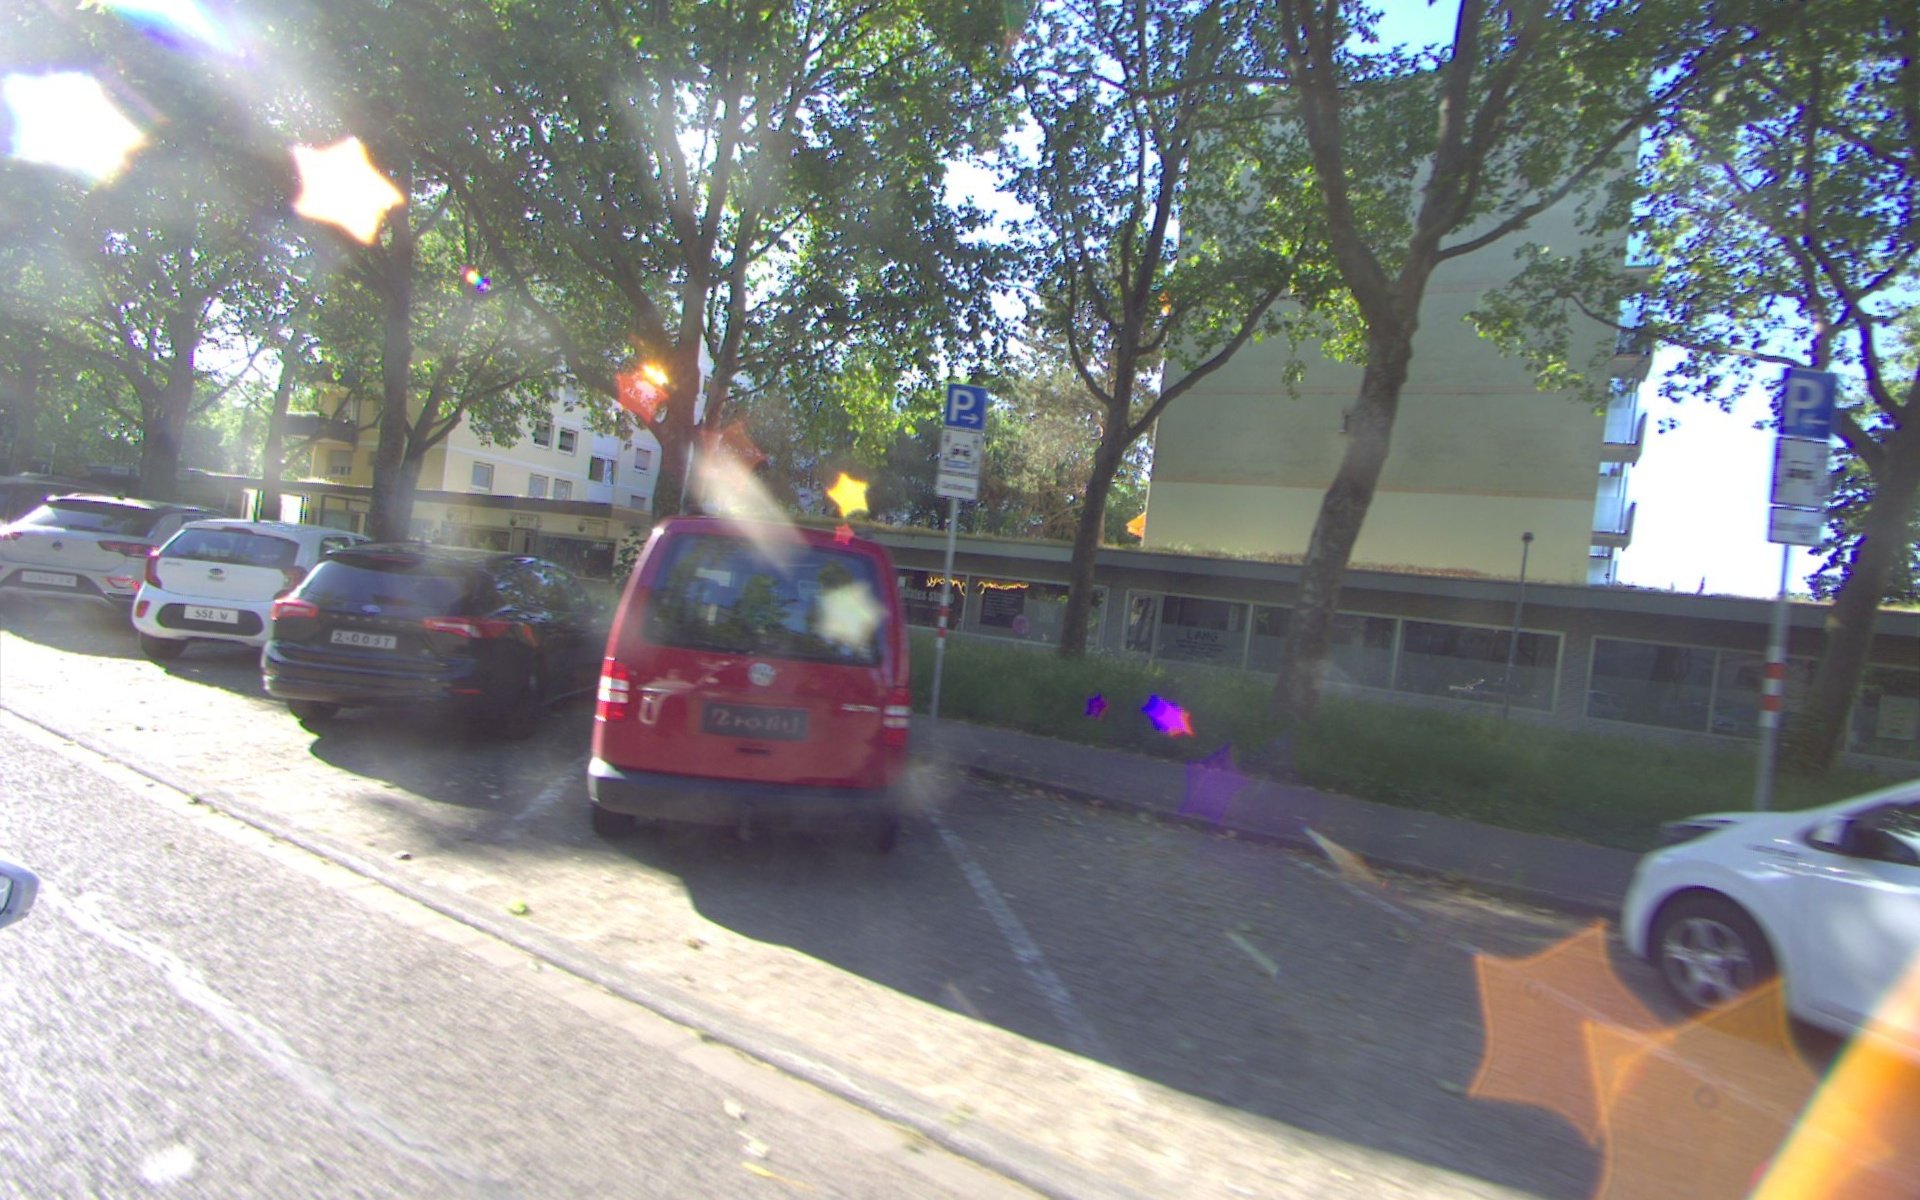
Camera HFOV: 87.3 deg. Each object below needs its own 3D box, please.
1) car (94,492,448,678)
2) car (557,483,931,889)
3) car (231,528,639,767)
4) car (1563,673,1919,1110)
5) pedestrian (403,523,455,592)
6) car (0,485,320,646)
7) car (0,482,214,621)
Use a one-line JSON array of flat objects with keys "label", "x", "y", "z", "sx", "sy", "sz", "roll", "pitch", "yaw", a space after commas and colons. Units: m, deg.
[{"label": "car", "x": -7.628, "y": -0.172, "z": 11.695, "sx": 1.751, "sy": 1.602, "sz": 4.076, "roll": 6, "pitch": 0, "yaw": -10}, {"label": "car", "x": -1.305, "y": 0.416, "z": 6.939, "sx": 1.622, "sy": 1.834, "sz": 4.079, "roll": 6, "pitch": 0, "yaw": -8}, {"label": "car", "x": -4.288, "y": 0.323, "z": 9.031, "sx": 1.621, "sy": 1.500, "sz": 4.081, "roll": 6, "pitch": 0, "yaw": -4}, {"label": "car", "x": 4.448, "y": 1.247, "z": 3.697, "sx": 1.625, "sy": 1.466, "sz": 3.616, "roll": 6, "pitch": 0, "yaw": -14}, {"label": "pedestrian", "x": -16.143, "y": -1.275, "z": 30.594, "sx": 0.855, "sy": 1.937, "sz": 0.875, "roll": 7, "pitch": 0, "yaw": 23}, {"label": "car", "x": -10.231, "y": -0.423, "z": 13.010, "sx": 1.751, "sy": 1.602, "sz": 4.076, "roll": 6, "pitch": 0, "yaw": -10}, {"label": "car", "x": -13.030, "y": -0.702, "z": 14.464, "sx": 1.607, "sy": 1.737, "sz": 4.316, "roll": 7, "pitch": -1, "yaw": -7}]
